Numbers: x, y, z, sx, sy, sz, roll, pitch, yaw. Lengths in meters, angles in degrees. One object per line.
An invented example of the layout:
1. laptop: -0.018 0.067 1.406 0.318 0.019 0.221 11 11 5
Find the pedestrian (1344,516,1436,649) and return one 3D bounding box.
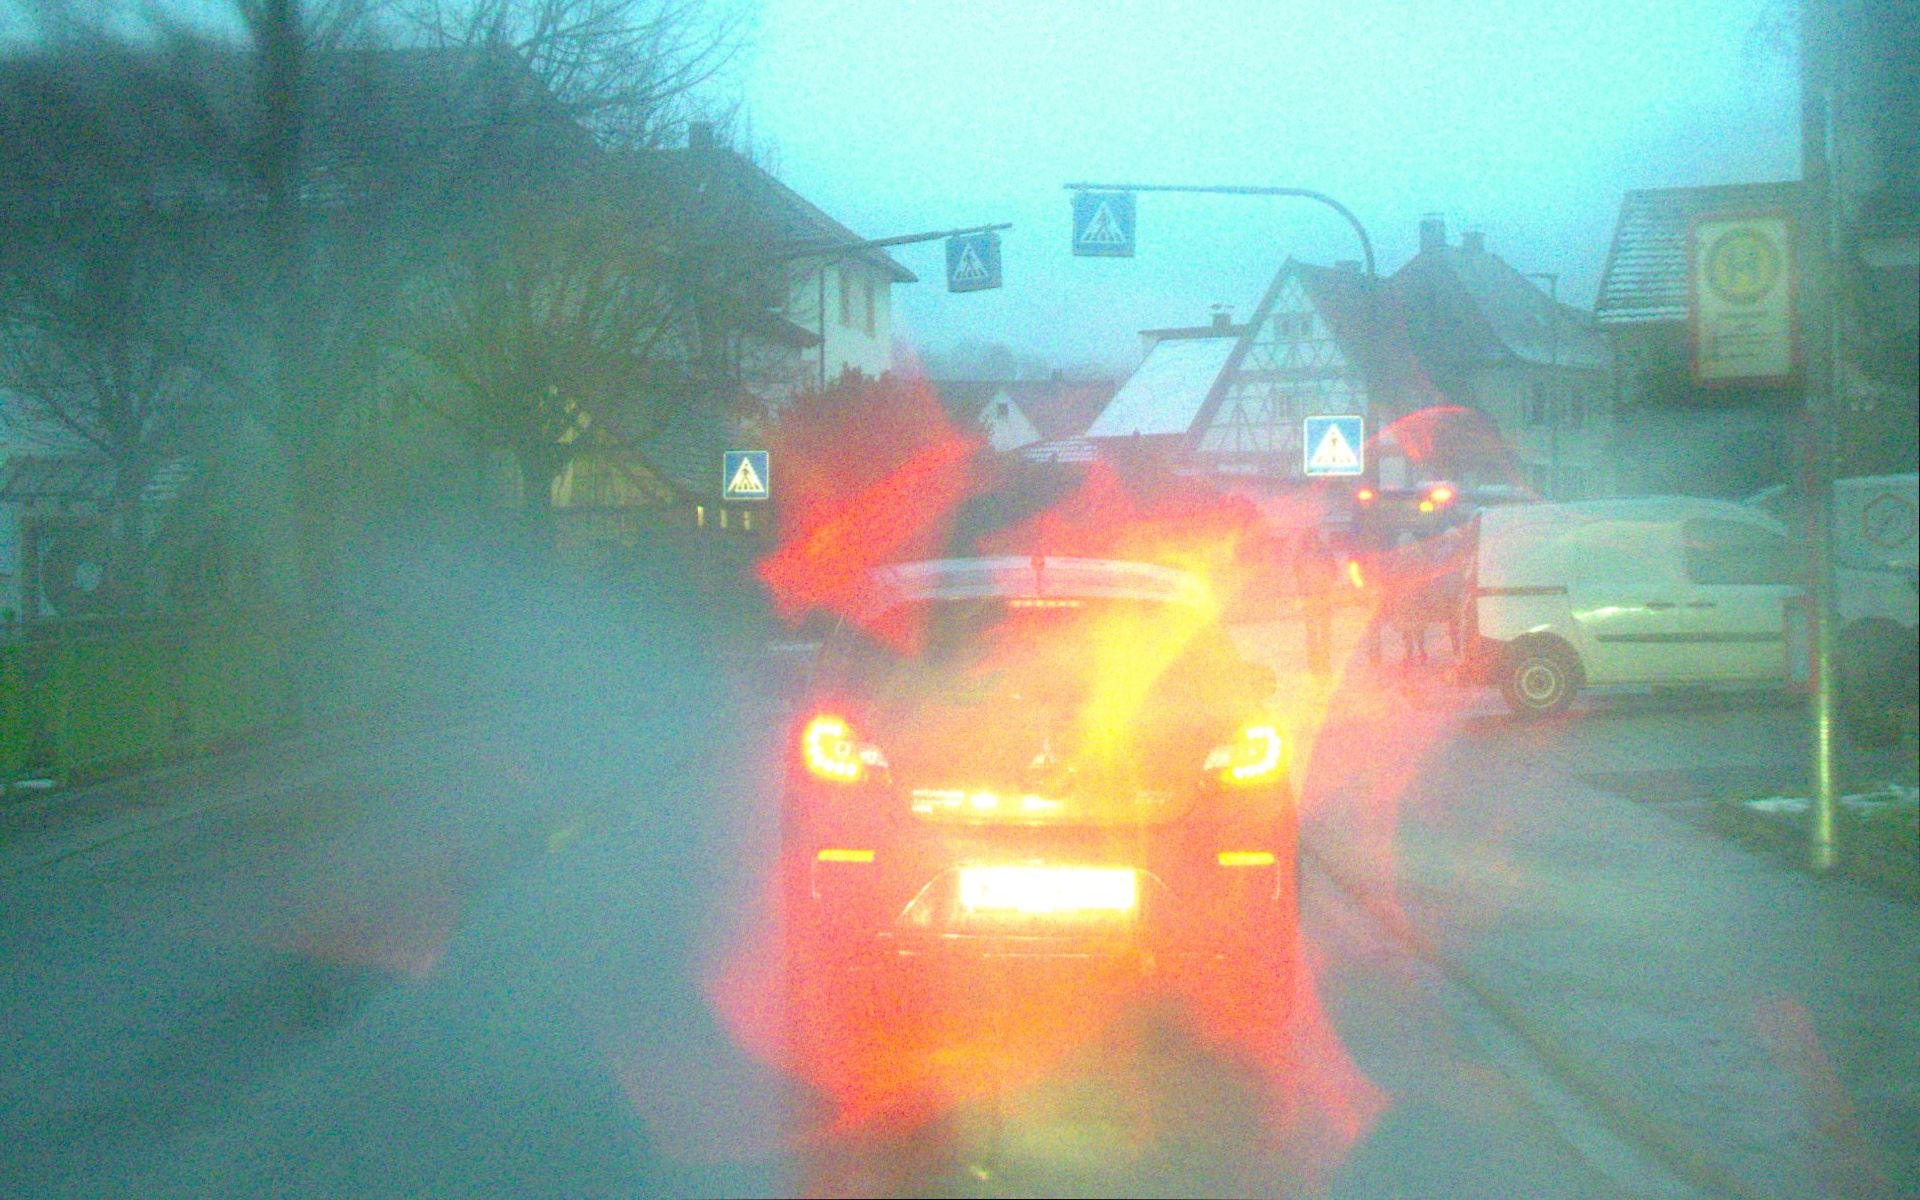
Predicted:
1. pedestrian: 5.598 -0.237 44.697 0.868 1.661 0.991 -3 0 22

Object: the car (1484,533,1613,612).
1. car: 12.708 -0.610 74.022 1.850 1.631 4.331 1 1 22

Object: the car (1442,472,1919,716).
1. car: 6.146 -0.050 28.913 4.043 1.837 1.863 -2 0 9

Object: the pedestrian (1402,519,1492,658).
1. pedestrian: 6.298 -0.155 44.420 0.849 1.727 0.970 -3 0 22

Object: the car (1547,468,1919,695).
1. car: 7.959 -0.211 31.255 4.984 1.882 1.936 -2 1 14

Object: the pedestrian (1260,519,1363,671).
1. pedestrian: 4.159 -0.061 40.604 0.880 1.729 0.954 -3 0 22

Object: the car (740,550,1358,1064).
1. car: 0.299 0.576 12.076 1.795 1.471 4.000 1 1 1
